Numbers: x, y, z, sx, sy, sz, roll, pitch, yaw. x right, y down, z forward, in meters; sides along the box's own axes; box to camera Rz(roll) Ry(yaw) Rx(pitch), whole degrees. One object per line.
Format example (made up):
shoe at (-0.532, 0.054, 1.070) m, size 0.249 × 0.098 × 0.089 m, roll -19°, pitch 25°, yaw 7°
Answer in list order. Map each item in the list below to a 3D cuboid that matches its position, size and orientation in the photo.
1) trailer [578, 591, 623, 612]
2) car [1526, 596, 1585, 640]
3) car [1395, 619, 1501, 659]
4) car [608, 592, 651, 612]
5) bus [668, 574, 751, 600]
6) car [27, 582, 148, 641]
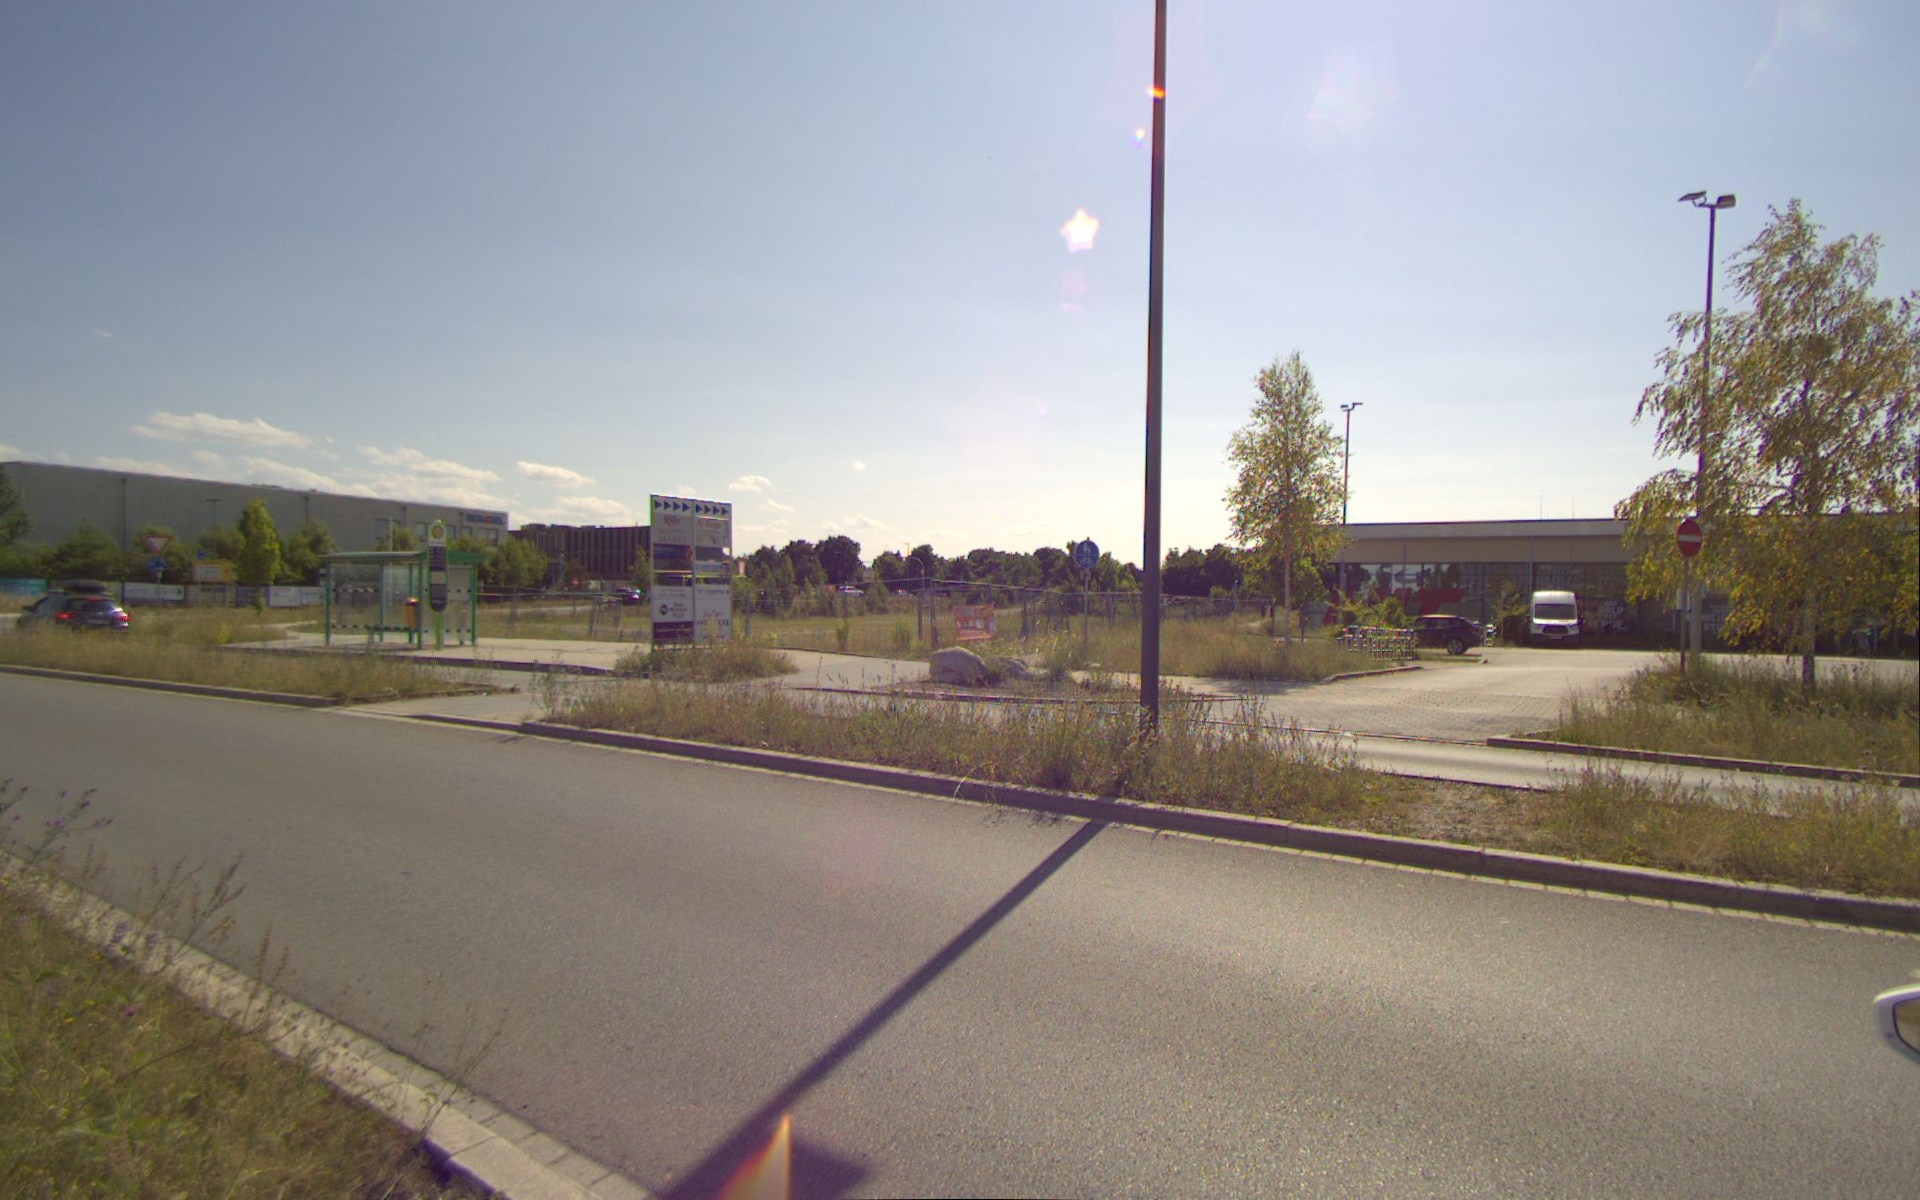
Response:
trailer at (-34.396, 0.167, 96.136) m, size 1.793 × 1.884 × 3.998 m, roll 2°, pitch 0°, yaw 23°
car at (28.956, 0.847, 49.010) m, size 2.189 × 2.003 × 6.685 m, roll 1°, pitch 0°, yaw 28°
car at (19.937, 1.572, 41.050) m, size 3.775 × 1.442 × 1.769 m, roll 2°, pitch 0°, yaw 29°
car at (-32.812, 0.231, 99.757) m, size 1.793 × 1.884 × 3.998 m, roll 2°, pitch 0°, yaw 23°
bus at (-27.772, -1.391, 112.104) m, size 2.530 × 2.772 × 11.563 m, roll 2°, pitch 1°, yaw 23°
car at (-25.207, 0.311, 28.983) m, size 4.133 × 1.537 × 1.991 m, roll 2°, pitch 0°, yaw 40°
